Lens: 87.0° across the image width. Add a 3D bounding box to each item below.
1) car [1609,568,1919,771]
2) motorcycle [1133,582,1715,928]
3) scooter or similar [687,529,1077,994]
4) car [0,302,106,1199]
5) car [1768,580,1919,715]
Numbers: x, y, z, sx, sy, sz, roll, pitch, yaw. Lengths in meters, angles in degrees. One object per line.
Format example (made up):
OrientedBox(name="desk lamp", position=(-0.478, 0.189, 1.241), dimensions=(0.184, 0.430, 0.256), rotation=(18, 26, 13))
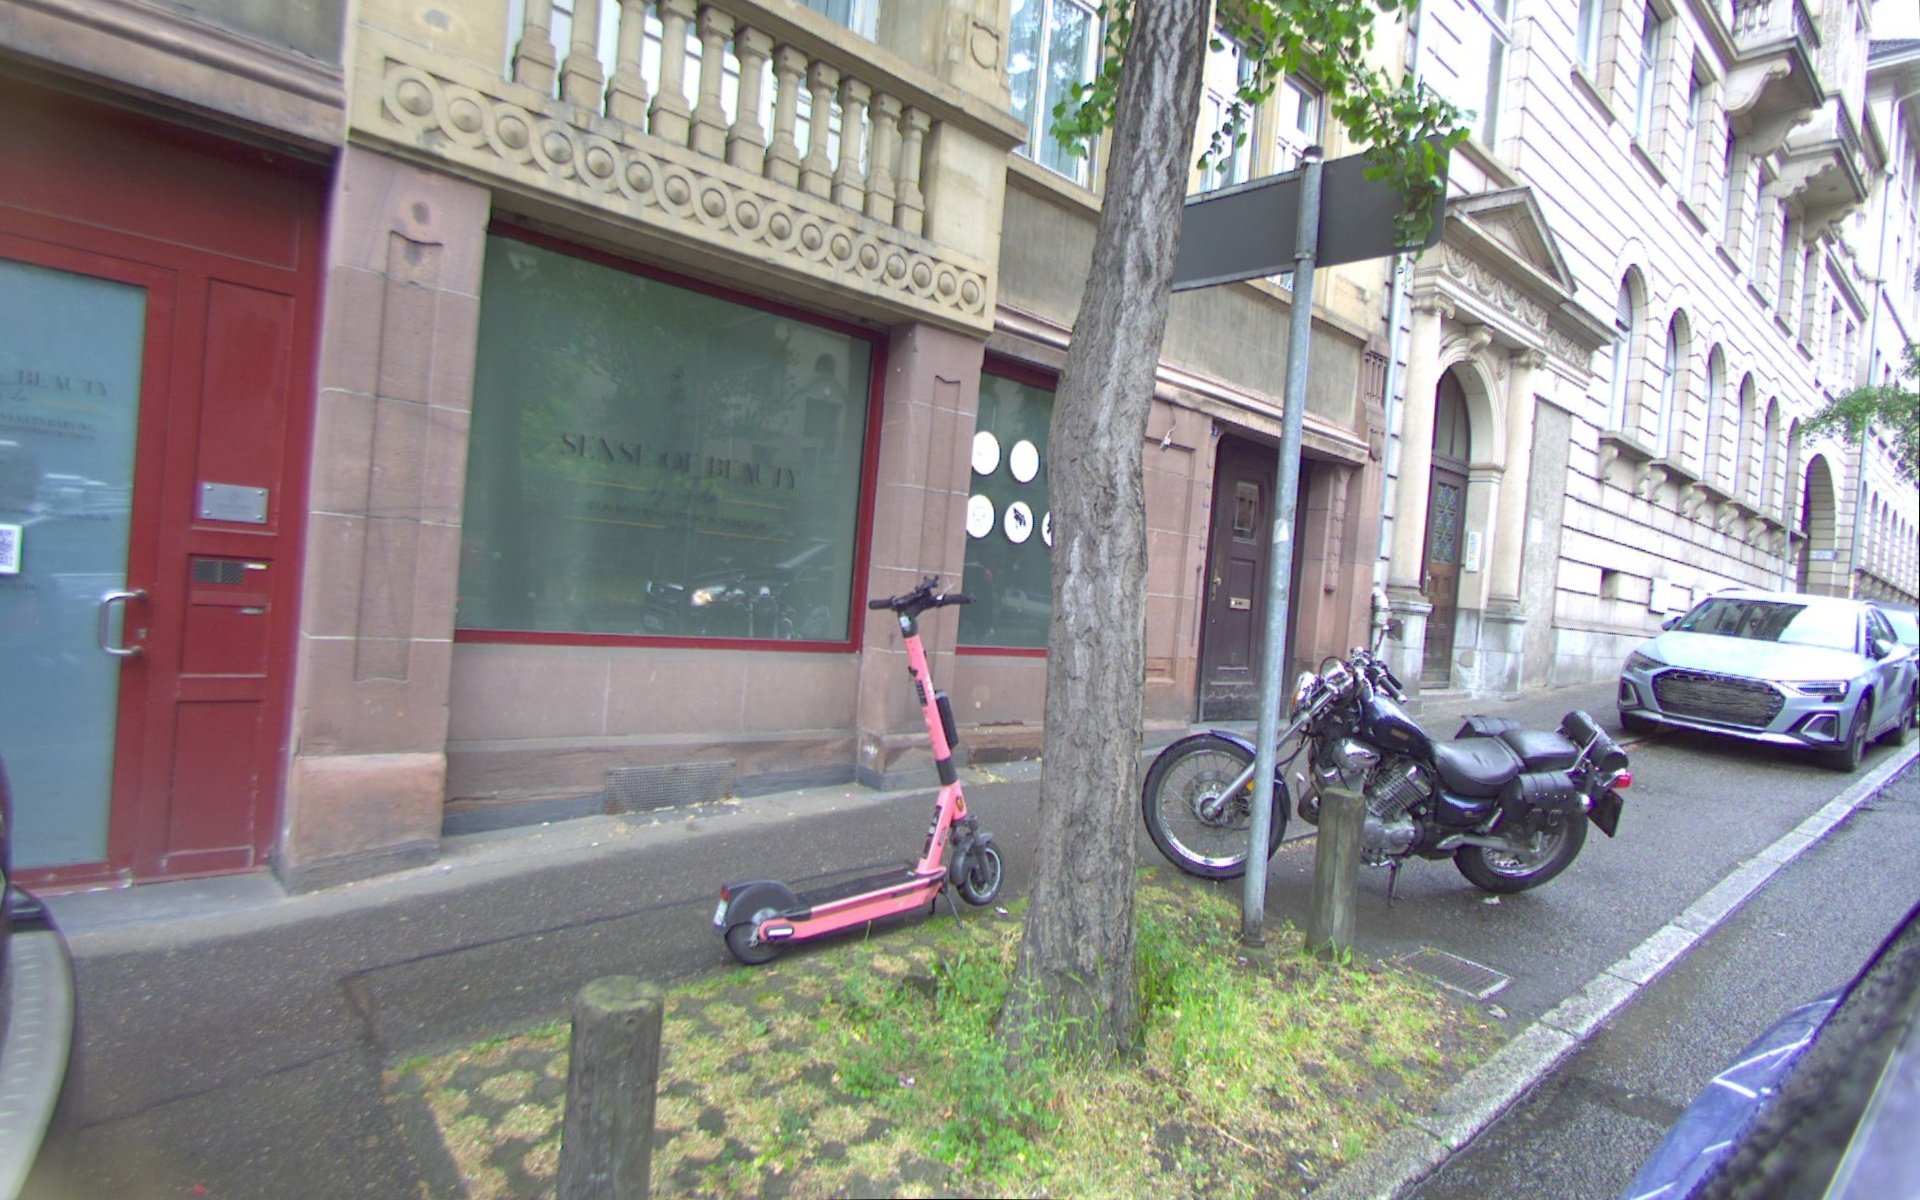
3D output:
OrientedBox(name="car", position=(8.130, 0.537, 9.914), dimensions=(3.967, 1.469, 1.795), rotation=(0, 5, -40))
OrientedBox(name="motorcycle", position=(1.988, 0.658, 4.500), dimensions=(2.232, 1.258, 0.525), rotation=(5, 3, -2))
OrientedBox(name="scooter or similar", position=(-0.245, 0.456, 3.515), dimensions=(1.182, 1.334, 0.594), rotation=(1, 3, -41))
OrientedBox(name="car", position=(-2.896, 0.469, 0.278), dimensions=(4.025, 1.670, 1.765), rotation=(0, 7, -40))
OrientedBox(name="car", position=(12.081, 0.556, 13.374), dimensions=(3.124, 1.466, 1.496), rotation=(0, 5, -40))
